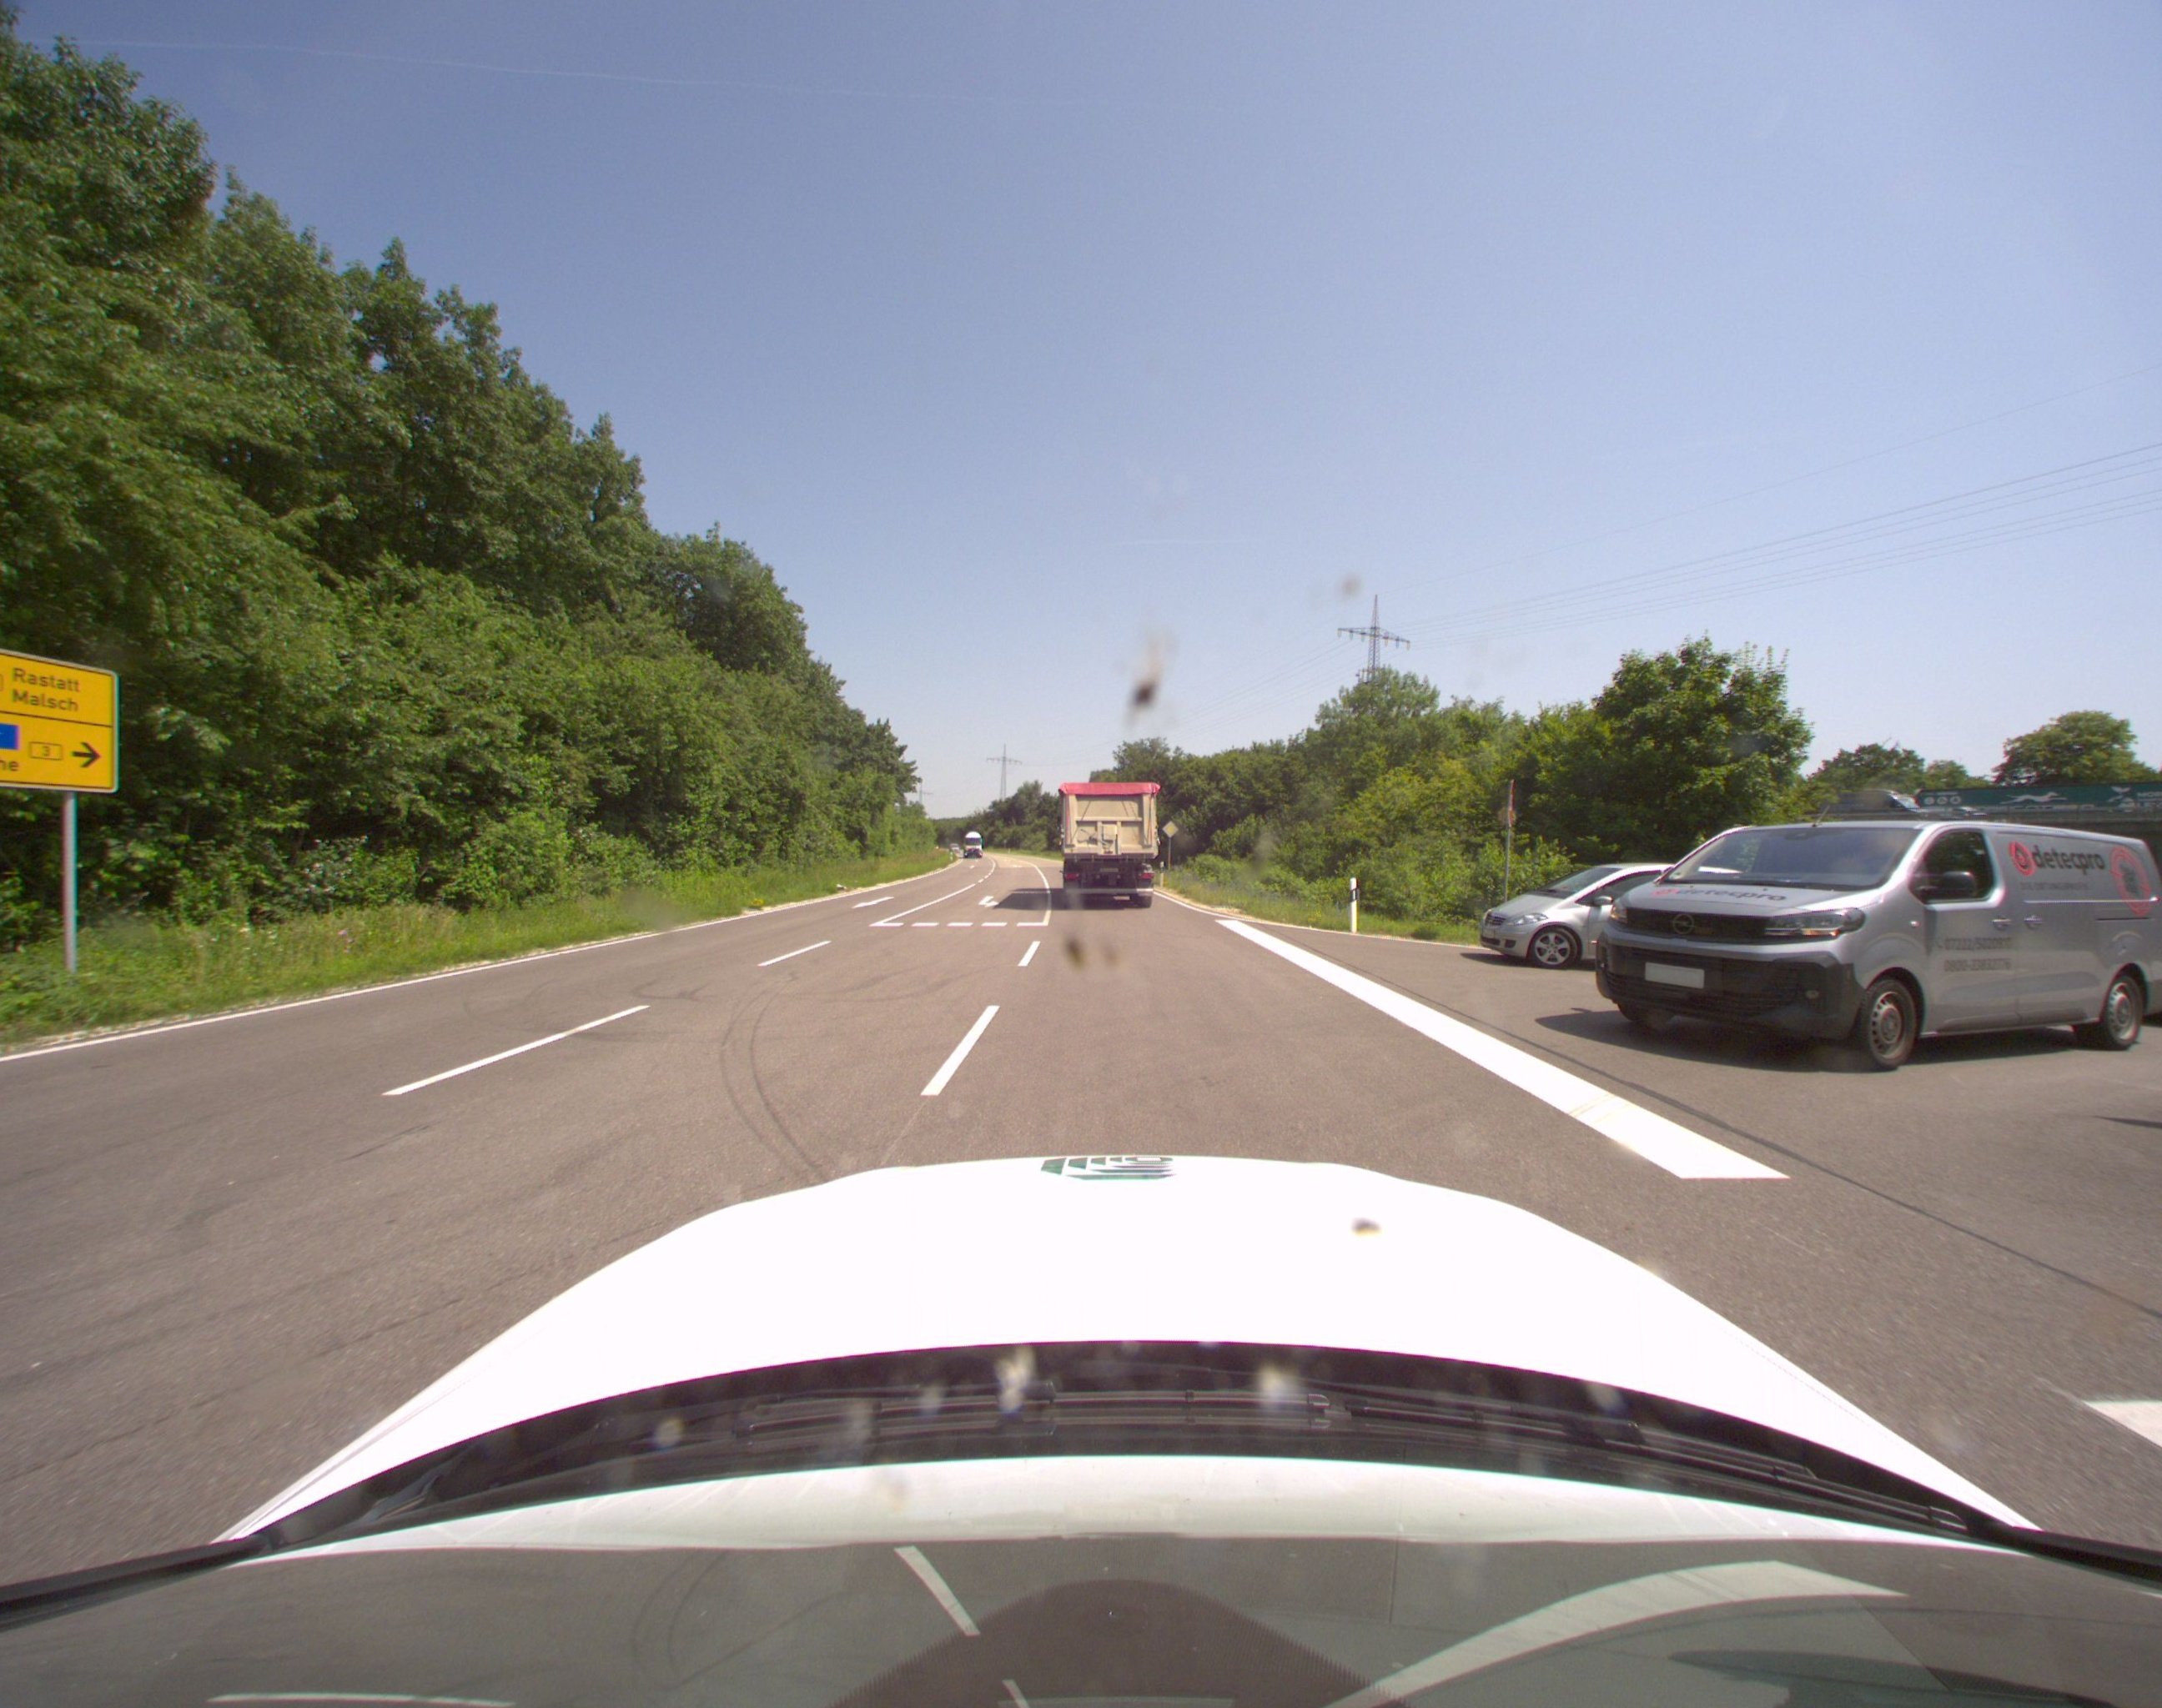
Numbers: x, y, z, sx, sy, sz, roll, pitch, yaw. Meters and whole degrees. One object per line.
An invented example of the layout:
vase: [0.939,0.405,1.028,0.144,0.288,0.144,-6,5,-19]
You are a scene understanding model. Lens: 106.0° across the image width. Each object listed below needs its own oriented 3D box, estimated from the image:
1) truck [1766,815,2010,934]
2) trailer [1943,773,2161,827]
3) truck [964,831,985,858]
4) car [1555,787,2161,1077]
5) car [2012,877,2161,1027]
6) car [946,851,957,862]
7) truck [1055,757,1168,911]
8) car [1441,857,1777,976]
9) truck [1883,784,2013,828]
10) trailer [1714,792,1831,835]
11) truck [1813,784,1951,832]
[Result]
truck: [42.615,0.959,44.178,3.334,5.315,15.420,-1,0,21]
trailer: [73.602,-3.872,61.289,2.915,3.255,11.685,0,0,-22]
truck: [-15.055,-1.332,115.728,2.623,3.670,8.778,-1,0,-6]
car: [7.011,0.604,7.209,5.230,1.907,2.000,2,-1,-20]
car: [12.935,1.082,9.168,4.566,1.474,1.855,2,-1,-22]
car: [-22.973,0.474,144.341,1.841,1.779,4.880,-1,0,-7]
truck: [0.612,-0.561,26.974,2.886,3.962,11.924,-1,0,-2]
car: [7.851,0.895,12.346,3.973,1.580,1.843,2,-1,-4]
truck: [71.261,-3.861,67.137,2.915,3.149,6.736,0,0,-22]
trailer: [51.190,-2.932,60.460,2.249,2.819,6.225,0,0,-25]
truck: [53.732,-2.997,54.840,2.249,2.819,6.225,0,0,-25]
